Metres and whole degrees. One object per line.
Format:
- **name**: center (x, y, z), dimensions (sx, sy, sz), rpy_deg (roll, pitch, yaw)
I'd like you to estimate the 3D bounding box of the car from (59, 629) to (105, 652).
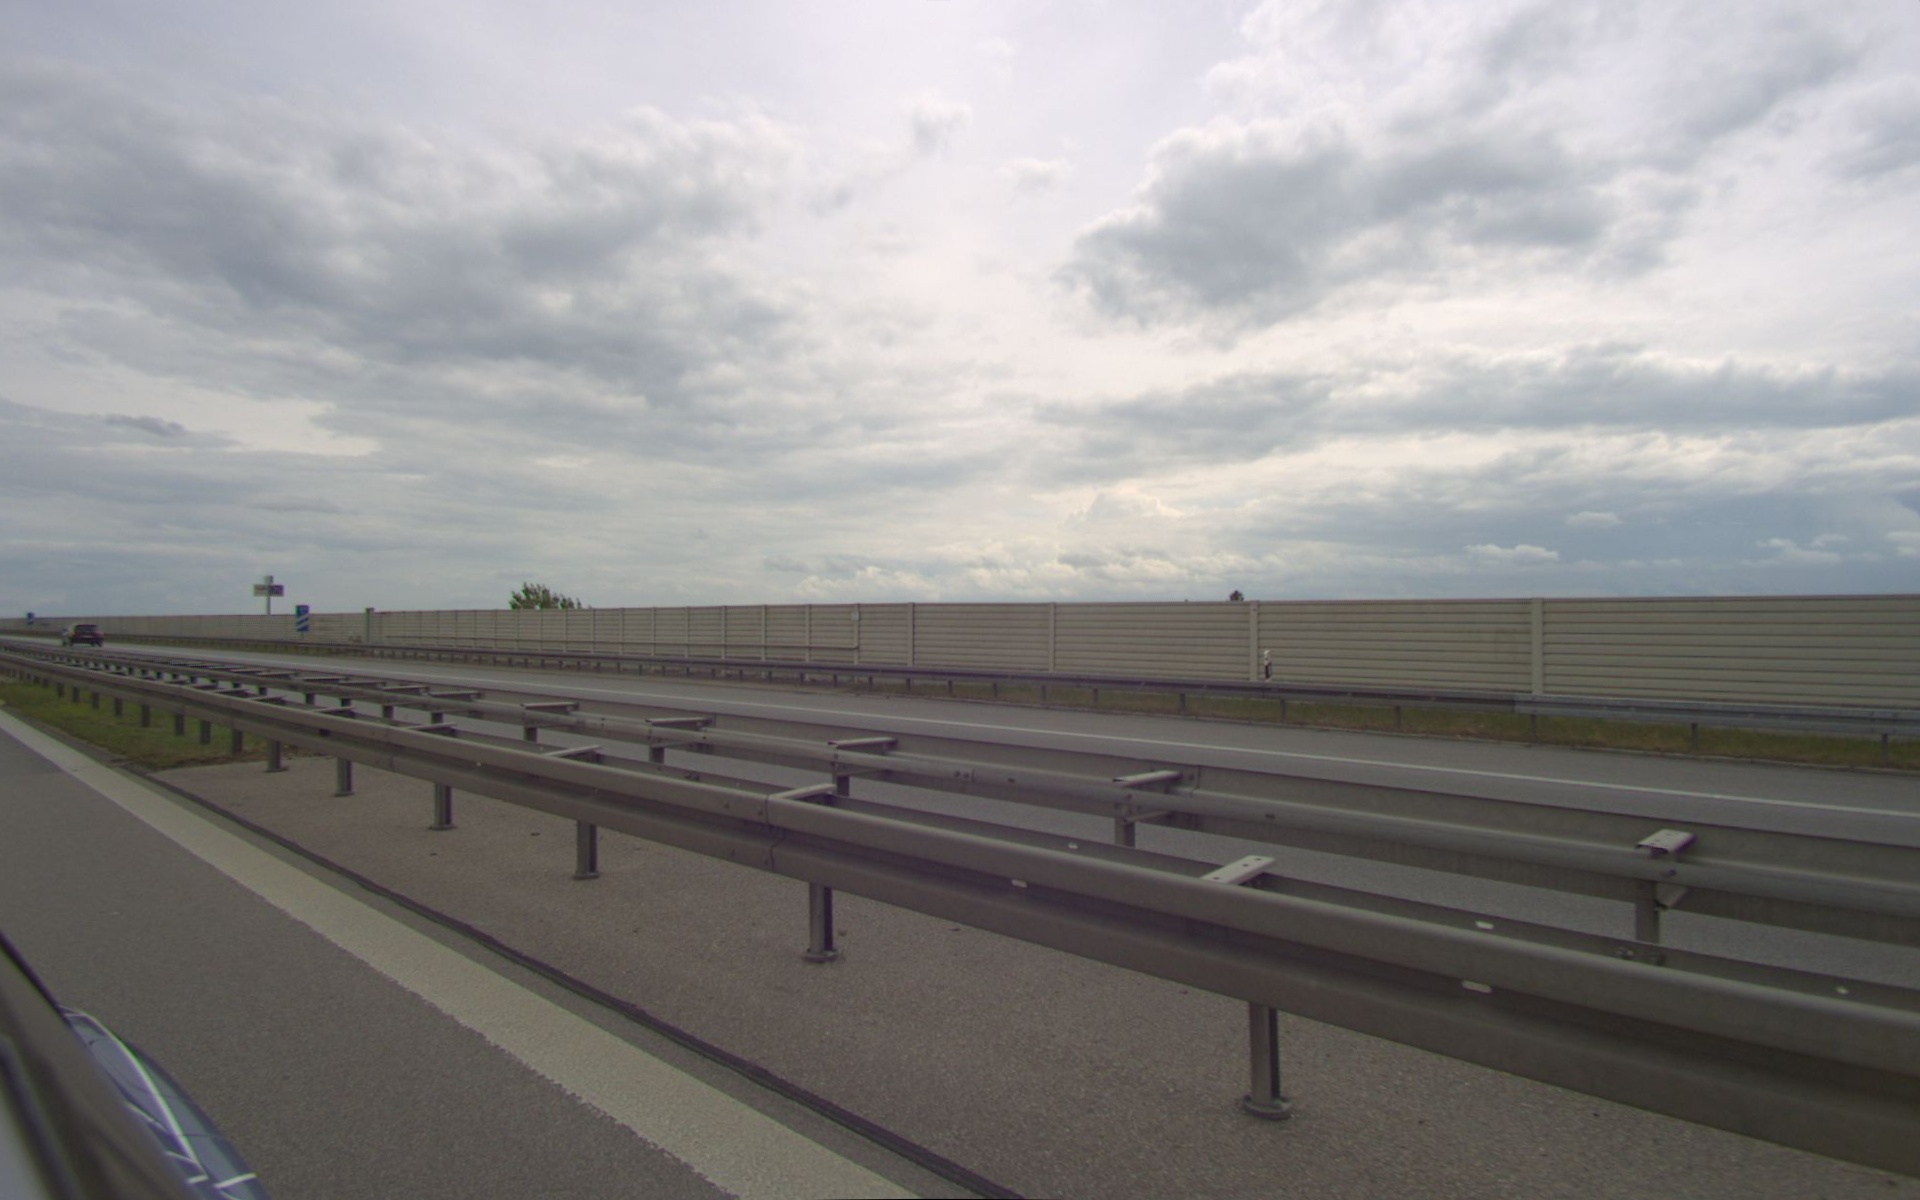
- **car**: center (-57.113, 2.629, 65.811), dimensions (3.998, 1.397, 1.653), rpy_deg (-1, -4, 41)
